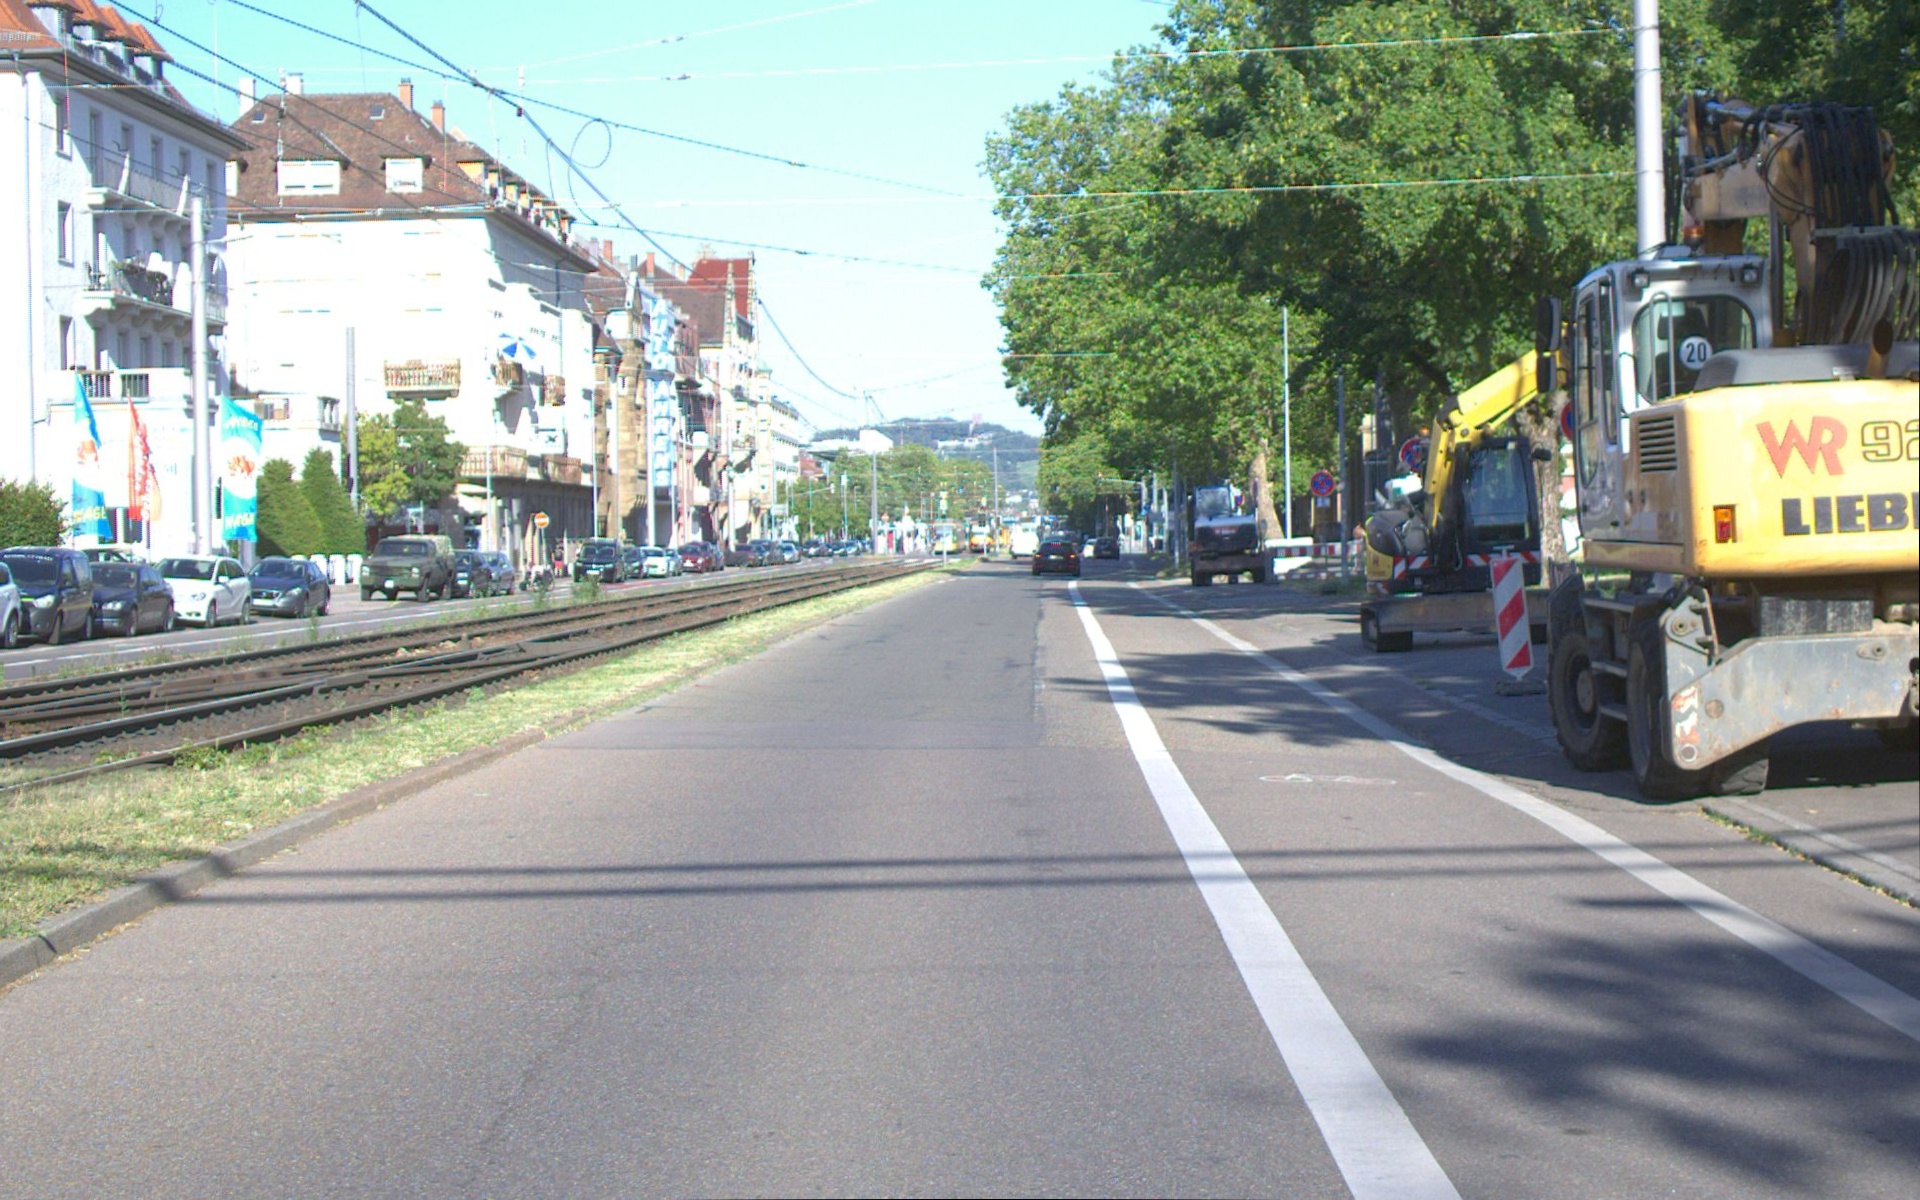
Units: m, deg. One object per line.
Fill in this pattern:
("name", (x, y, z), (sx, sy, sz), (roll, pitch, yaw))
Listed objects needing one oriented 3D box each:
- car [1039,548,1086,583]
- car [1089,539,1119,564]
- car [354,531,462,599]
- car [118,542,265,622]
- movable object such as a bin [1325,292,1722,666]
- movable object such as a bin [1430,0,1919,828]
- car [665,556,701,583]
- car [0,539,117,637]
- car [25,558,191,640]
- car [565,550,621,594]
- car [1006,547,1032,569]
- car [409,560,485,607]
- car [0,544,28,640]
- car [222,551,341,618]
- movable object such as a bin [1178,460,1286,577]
("car", (4.154, -1.420, 139.348), (1.833, 1.386, 4.159), (0, 1, 1))
("car", (9.068, -3.062, 216.544), (1.794, 1.505, 4.000), (0, 1, 1))
("car", (-16.877, -1.097, 105.425), (2.077, 2.003, 5.591), (1, 1, 3))
("car", (-17.171, -0.426, 77.026), (1.921, 1.689, 4.842), (1, 1, 4))
("movable object such as a bin", (6.686, -1.407, 42.093), (3.338, 3.962, 7.599), (-4, 1, 0))
("movable object such as a bin", (5.174, -1.227, 22.208), (2.914, 4.594, 7.599), (-4, 1, 0))
("car", (-15.029, -1.664, 186.641), (1.833, 1.386, 4.036), (2, 1, -3))
("car", (-17.541, -0.263, 65.411), (1.920, 1.774, 4.498), (1, 1, 0))
("car", (-17.400, -0.042, 70.428), (1.921, 1.555, 4.842), (1, 1, 4))
("car", (-15.827, -1.239, 148.392), (1.862, 1.780, 4.402), (1, 1, 1))
("car", (4.194, -2.940, 243.354), (1.794, 1.505, 4.000), (1, 0, 1))
("car", (-16.646, -0.531, 111.669), (1.635, 1.502, 4.158), (0, 0, 3))
("car", (-17.933, -0.138, 60.034), (1.920, 1.678, 4.627), (1, 1, 2))
("car", (-16.917, -0.404, 85.927), (1.920, 1.456, 4.842), (4, 1, 0))
("movable object such as a bin", (7.979, -2.395, 101.555), (2.744, 3.135, 7.219), (-4, 1, 3))
